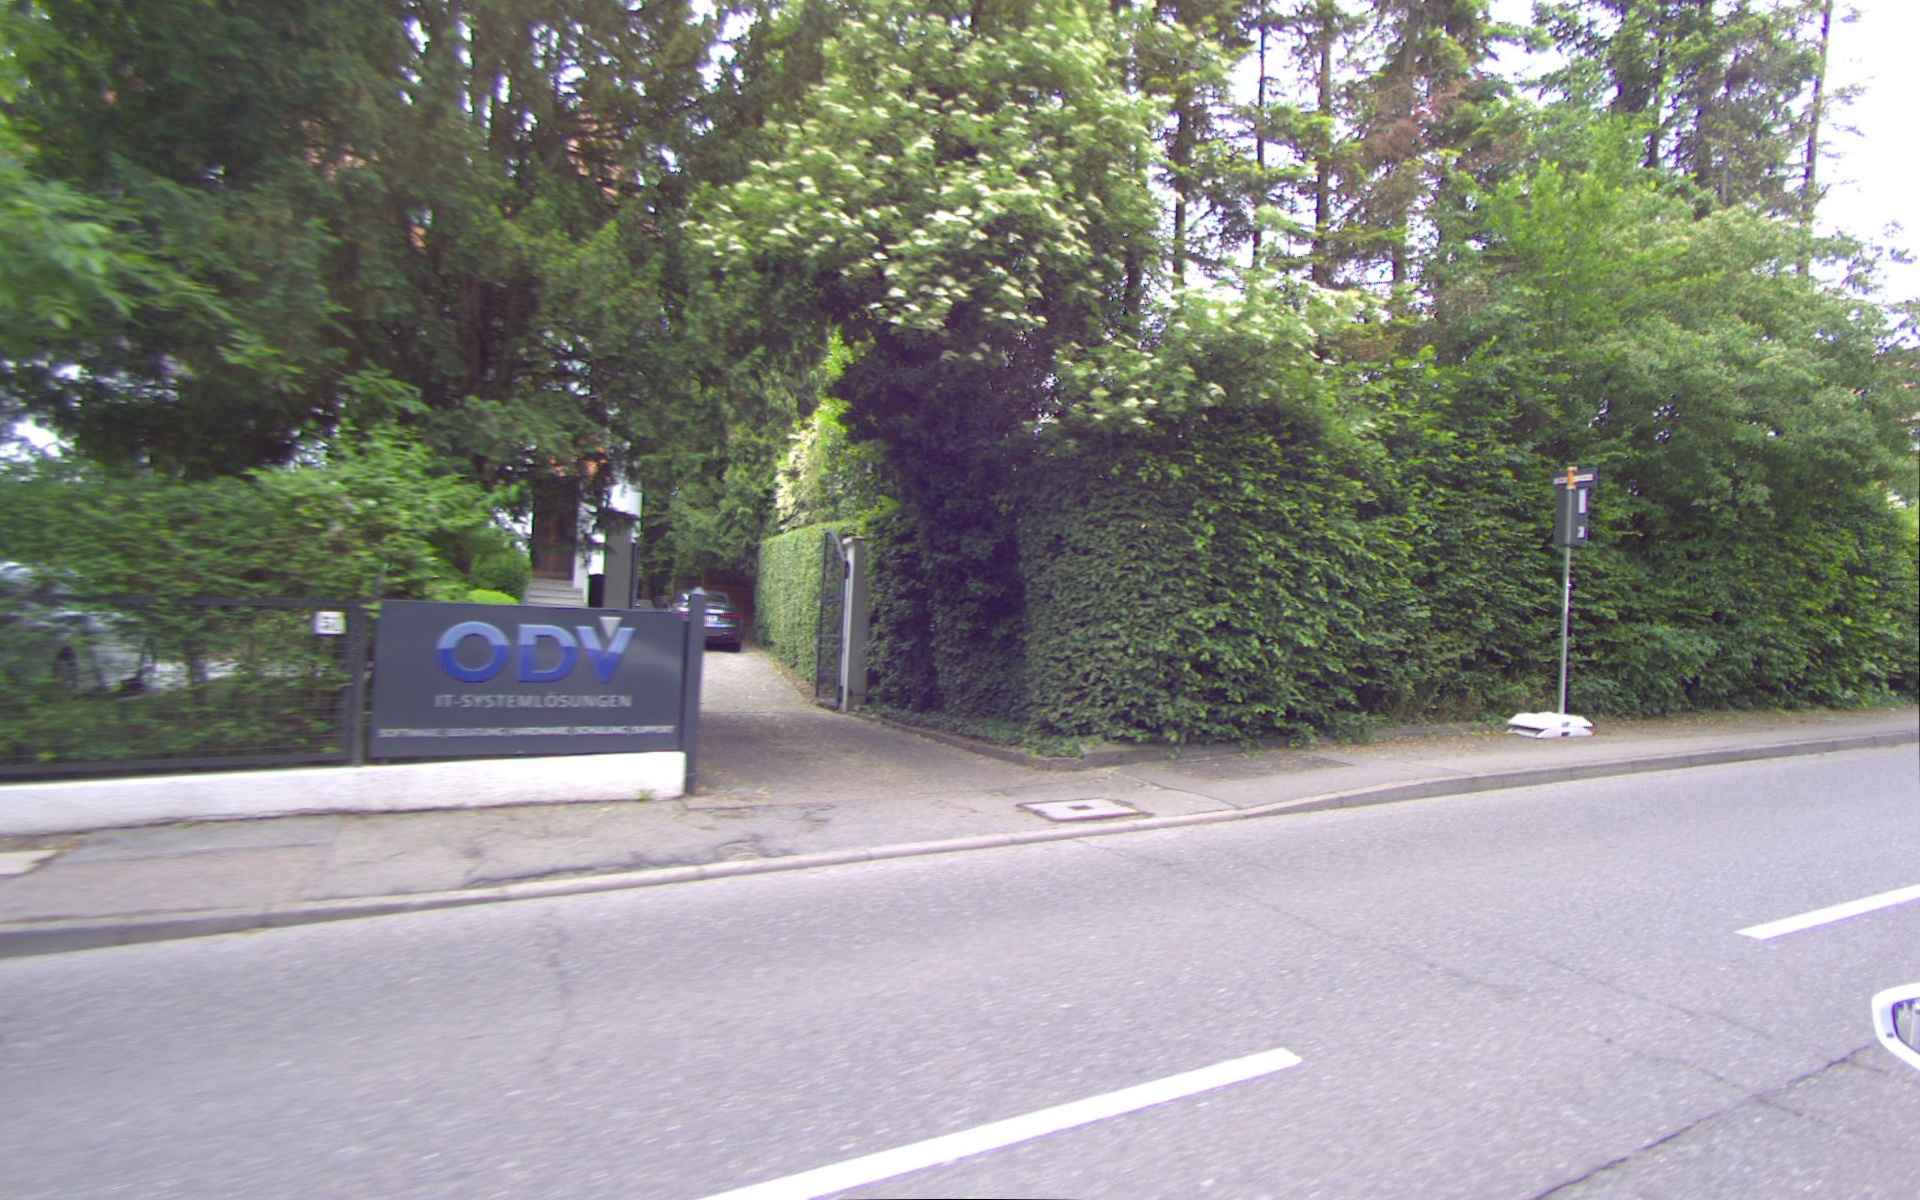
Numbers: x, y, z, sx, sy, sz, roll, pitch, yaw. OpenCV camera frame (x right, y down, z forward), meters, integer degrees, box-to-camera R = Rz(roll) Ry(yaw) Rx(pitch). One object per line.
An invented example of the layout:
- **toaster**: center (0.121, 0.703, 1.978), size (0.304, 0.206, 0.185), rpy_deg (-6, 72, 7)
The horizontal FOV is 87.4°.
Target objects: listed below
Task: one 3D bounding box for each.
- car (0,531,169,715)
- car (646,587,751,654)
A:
- **car**: center (-9.682, 0.212, 10.063), size (1.975, 1.572, 3.972), rpy_deg (3, -3, -28)
- **car**: center (-6.412, 0.530, 24.340), size (1.971, 1.438, 3.981), rpy_deg (2, -2, -21)
